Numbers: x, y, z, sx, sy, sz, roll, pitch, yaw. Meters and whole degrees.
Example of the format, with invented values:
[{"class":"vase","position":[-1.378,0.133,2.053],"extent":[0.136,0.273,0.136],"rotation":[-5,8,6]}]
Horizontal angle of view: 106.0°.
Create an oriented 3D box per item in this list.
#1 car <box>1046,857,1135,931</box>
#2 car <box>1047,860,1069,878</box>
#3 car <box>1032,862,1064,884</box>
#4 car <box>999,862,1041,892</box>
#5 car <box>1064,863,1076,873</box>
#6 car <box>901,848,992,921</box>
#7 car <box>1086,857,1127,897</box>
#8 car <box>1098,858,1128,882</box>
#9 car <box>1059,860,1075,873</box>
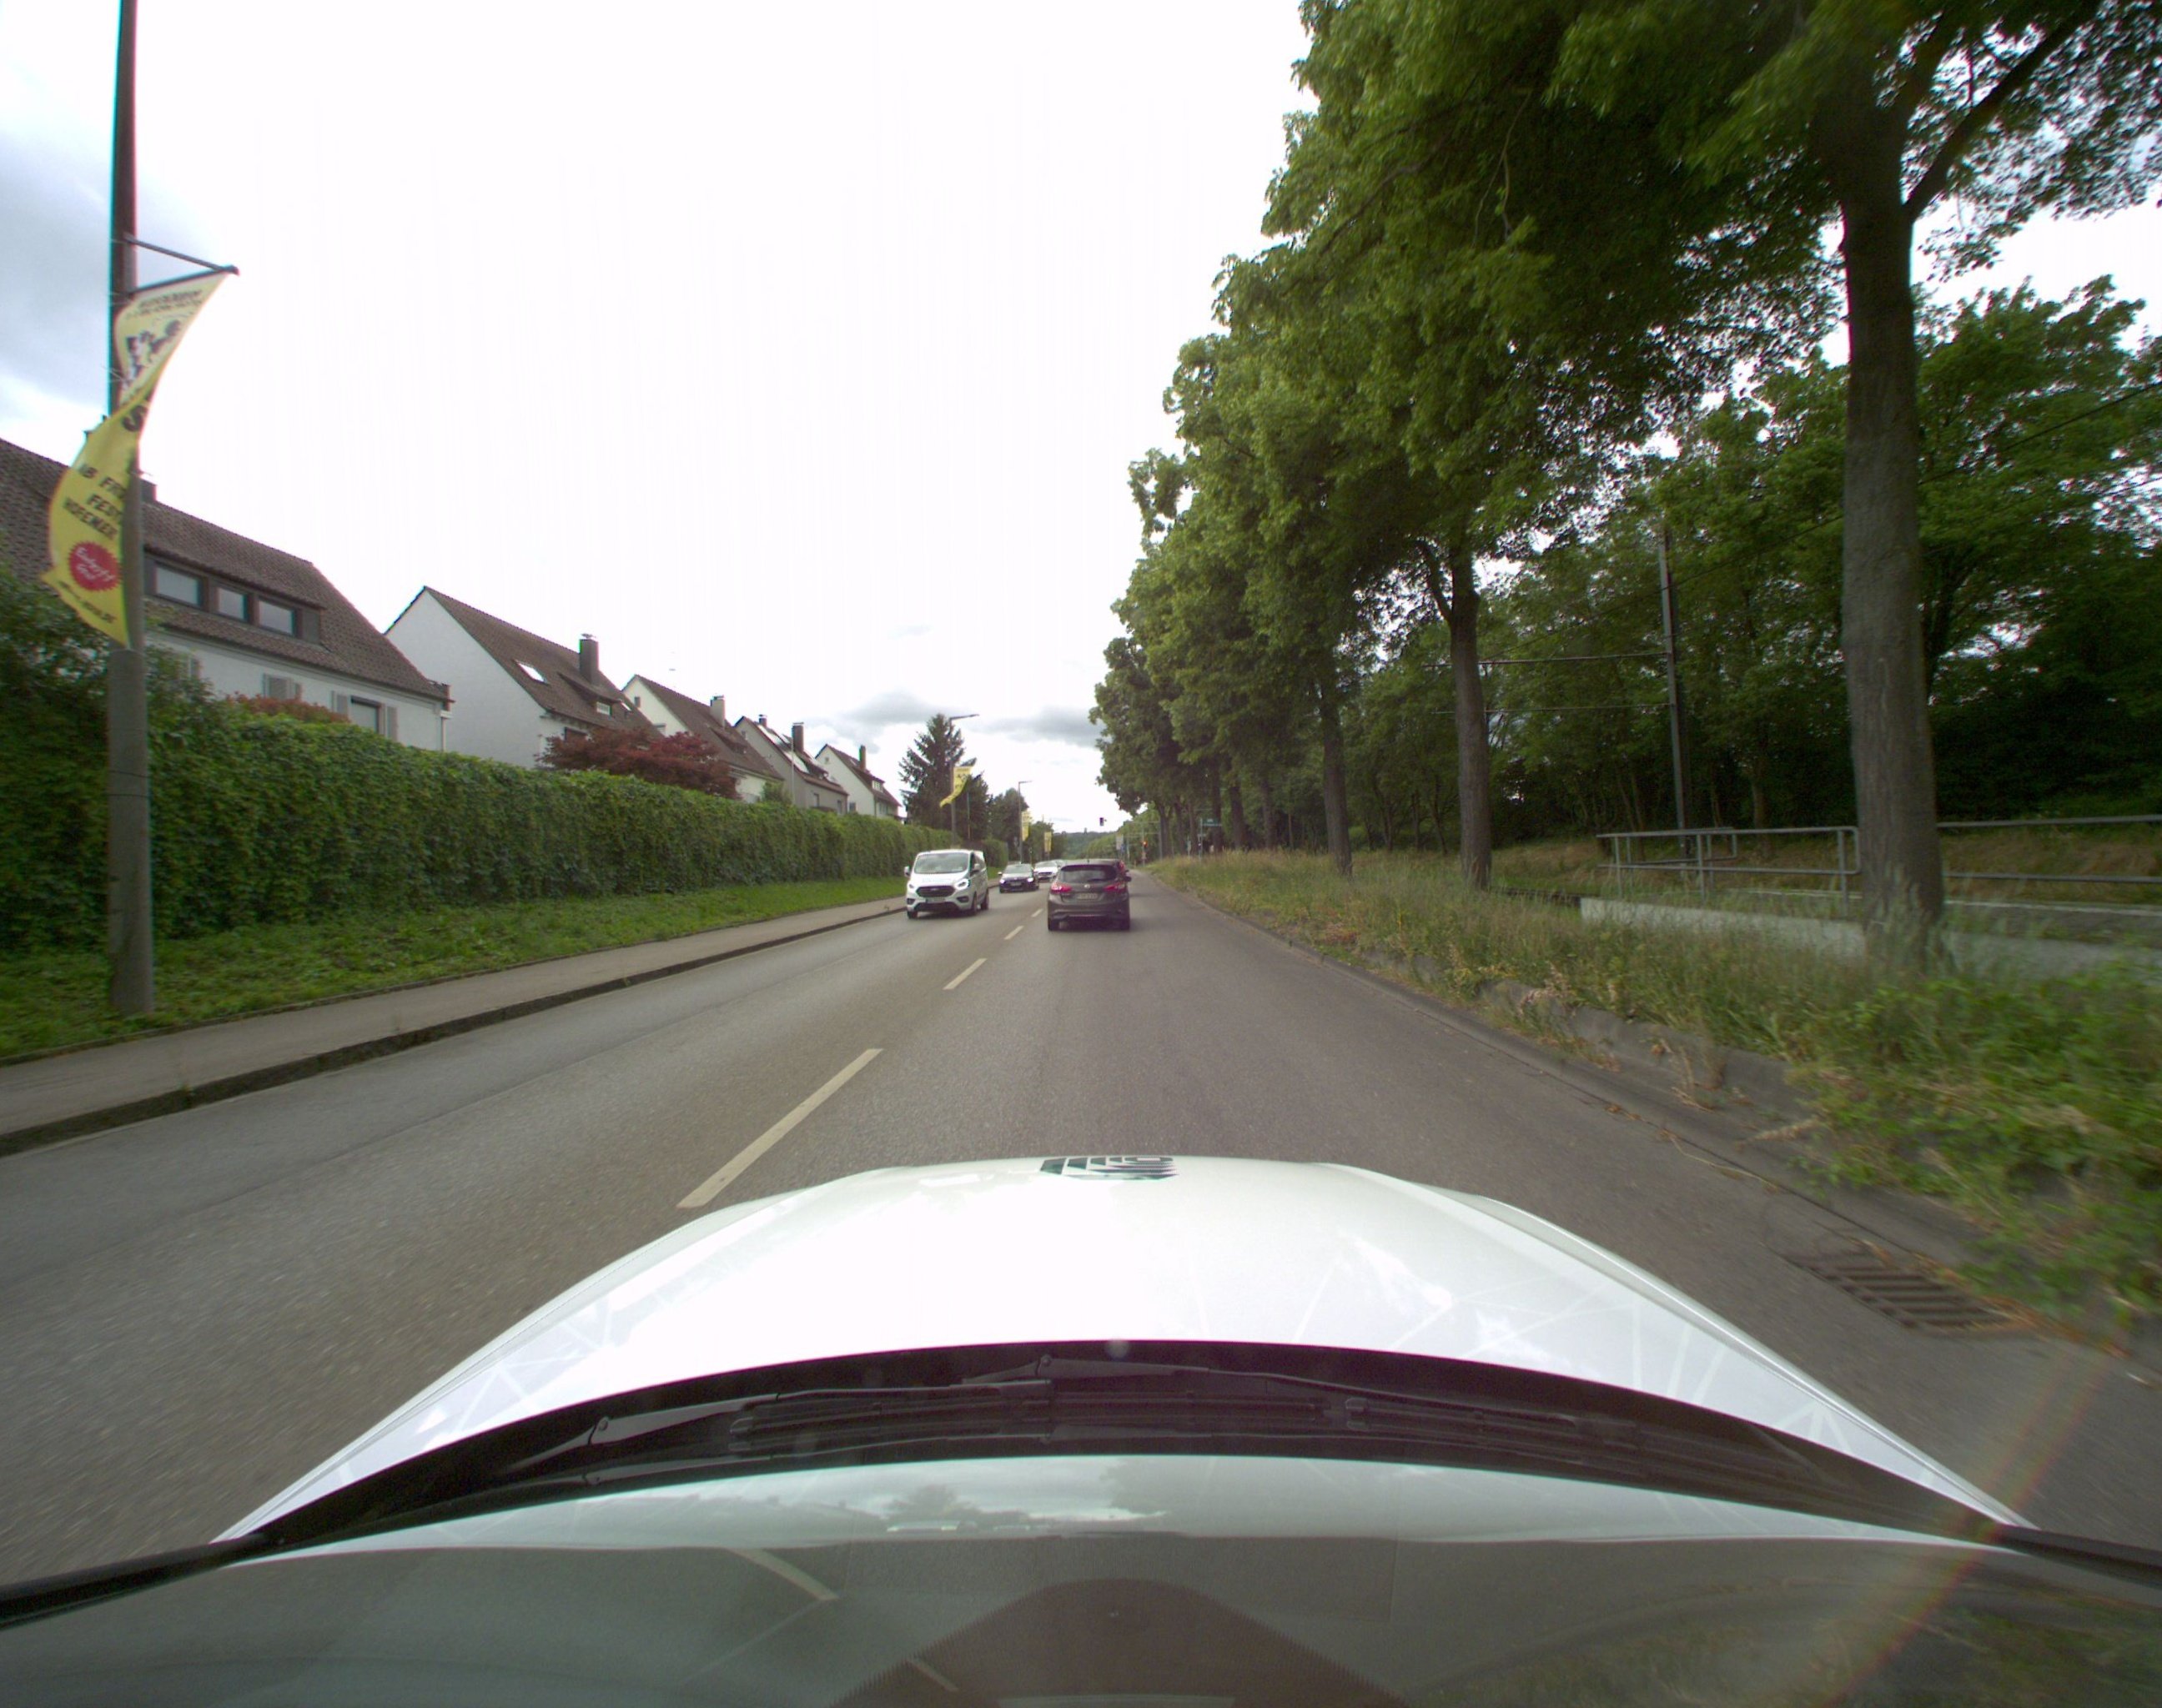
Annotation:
[{"class":"car","position":[0.266,0.834,18.966],"extent":[1.828,1.519,4.484],"rotation":[0,0,2]},{"class":"car","position":[-2.091,1.341,73.952],"extent":[1.746,1.518,4.000],"rotation":[-4,0,0]},{"class":"car","position":[-2.331,1.338,57.976],"extent":[1.879,1.383,4.492],"rotation":[-3,0,2]},{"class":"car","position":[-3.049,1.137,41.667],"extent":[1.645,1.348,4.479],"rotation":[-3,0,1]},{"class":"car","position":[-1.829,2.307,137.261],"extent":[1.807,1.524,4.176],"rotation":[-4,0,0]},{"class":"car","position":[-4.025,0.823,25.195],"extent":[1.900,1.932,4.910],"rotation":[-3,0,0]},{"class":"car","position":[1.024,0.880,32.660],"extent":[1.533,1.478,3.765],"rotation":[-2,0,2]},{"class":"car","position":[2.071,0.997,52.768],"extent":[1.785,1.397,4.001],"rotation":[-2,0,2]},{"class":"car","position":[-1.652,1.477,98.940],"extent":[1.722,1.464,4.154],"rotation":[-3,0,1]}]
